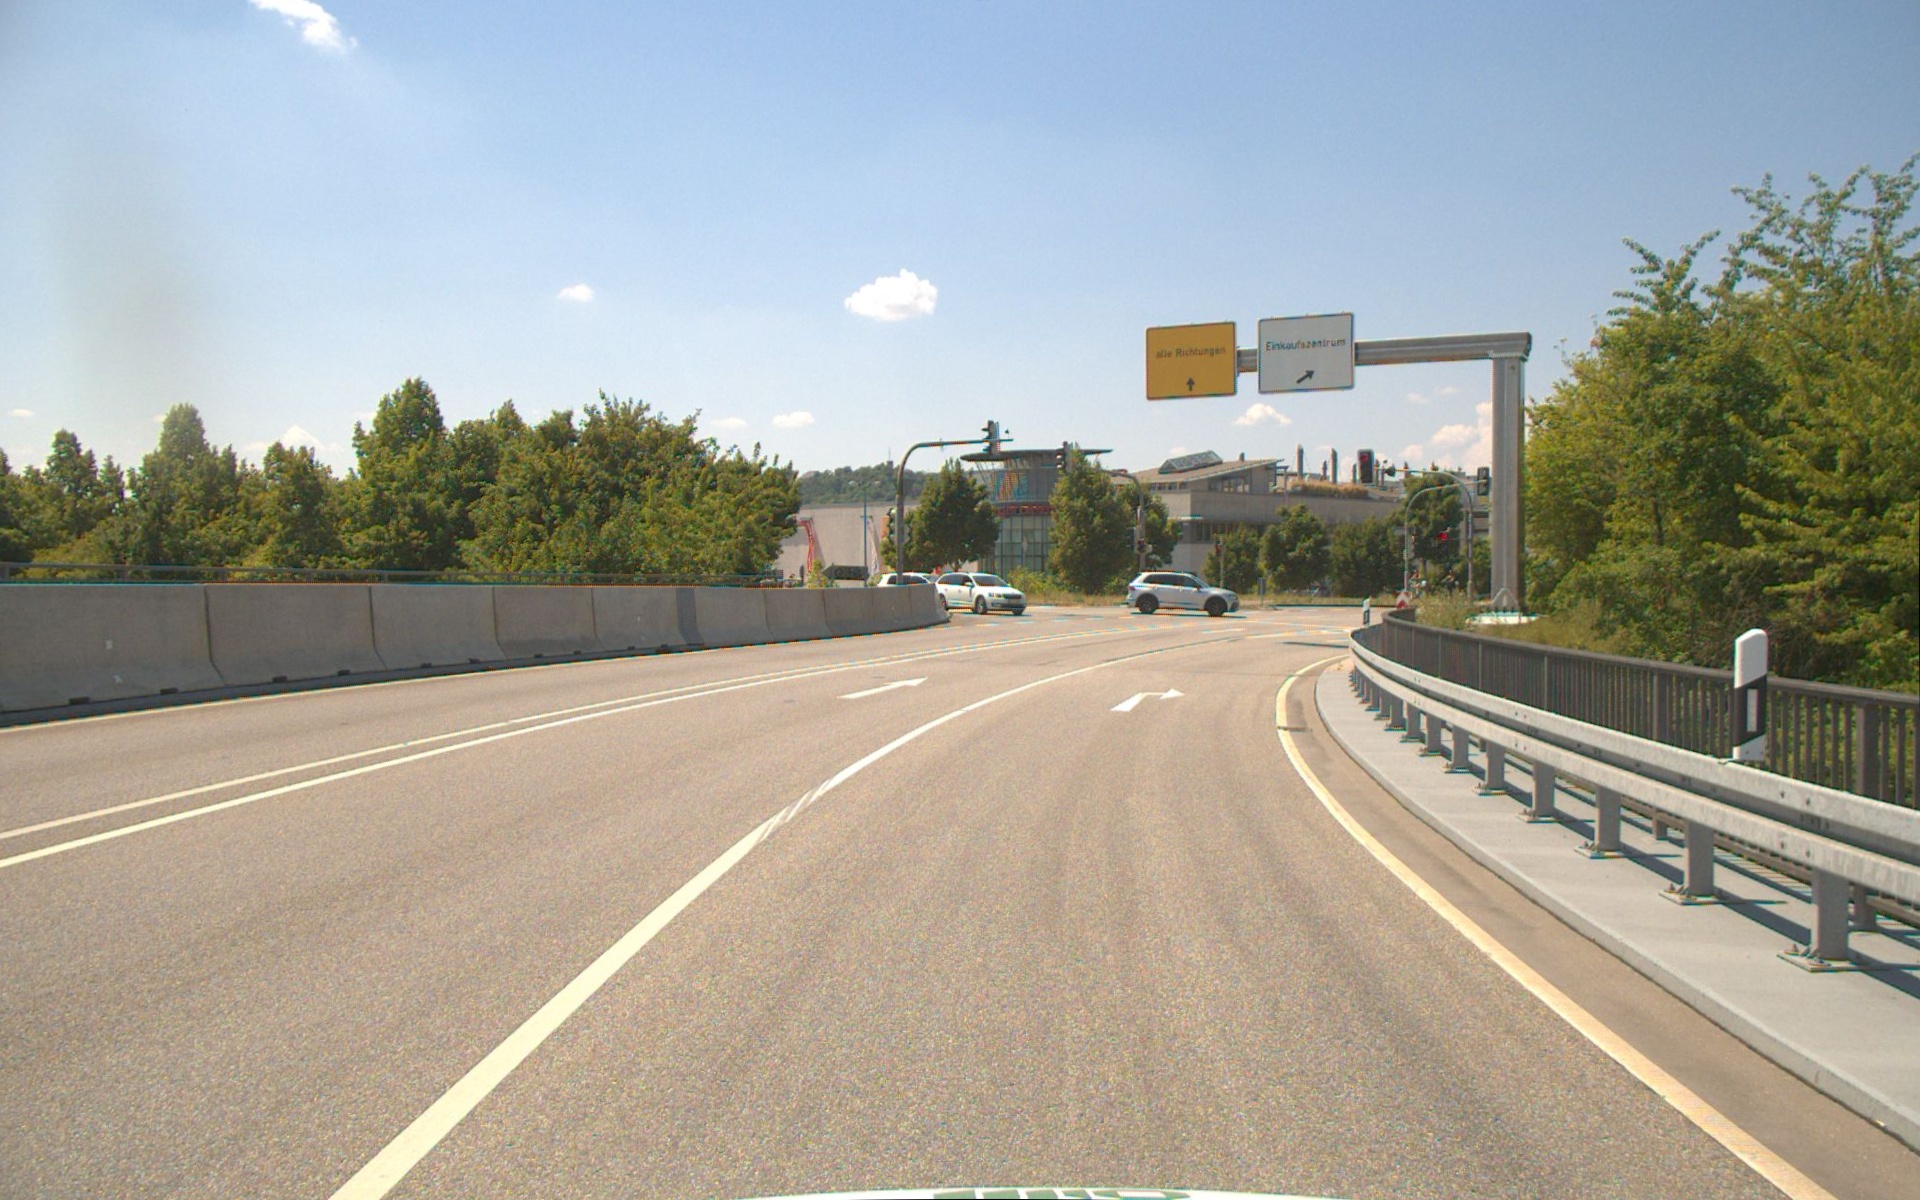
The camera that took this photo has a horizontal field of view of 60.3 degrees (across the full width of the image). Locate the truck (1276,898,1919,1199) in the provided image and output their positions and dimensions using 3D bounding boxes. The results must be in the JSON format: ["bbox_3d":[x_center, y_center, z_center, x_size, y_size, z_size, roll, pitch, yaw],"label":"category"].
[{"bbox_3d":[8.748,5.699,16.607,10.744,4.424,2.902,0,0,16],"label":"truck"}]

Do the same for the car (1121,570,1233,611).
[{"bbox_3d":[8.507,-0.360,64.707,4.288,1.532,2.002,0,0,9],"label":"car"}]

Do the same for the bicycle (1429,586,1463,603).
[{"bbox_3d":[26.275,-0.294,89.464,2.101,0.867,0.529,1,3,-34],"label":"bicycle"}]

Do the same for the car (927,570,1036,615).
[{"bbox_3d":[0.738,-0.302,60.003,1.771,1.521,4.500,0,1,-33],"label":"car"}]

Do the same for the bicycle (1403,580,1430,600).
[{"bbox_3d":[24.785,-0.537,89.817,1.815,1.042,0.409,0,3,-40],"label":"bicycle"}]

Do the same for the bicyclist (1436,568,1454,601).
[{"bbox_3d":[26.229,-0.818,89.384,0.722,1.747,0.525,1,3,-34],"label":"bicyclist"}]

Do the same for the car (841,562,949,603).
[{"bbox_3d":[-2.705,-0.745,69.066,4.041,1.512,1.999,3,2,25],"label":"car"}]

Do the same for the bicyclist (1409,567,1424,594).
[{"bbox_3d":[24.806,-1.072,89.811,0.678,1.428,0.402,1,2,-41],"label":"bicyclist"}]
